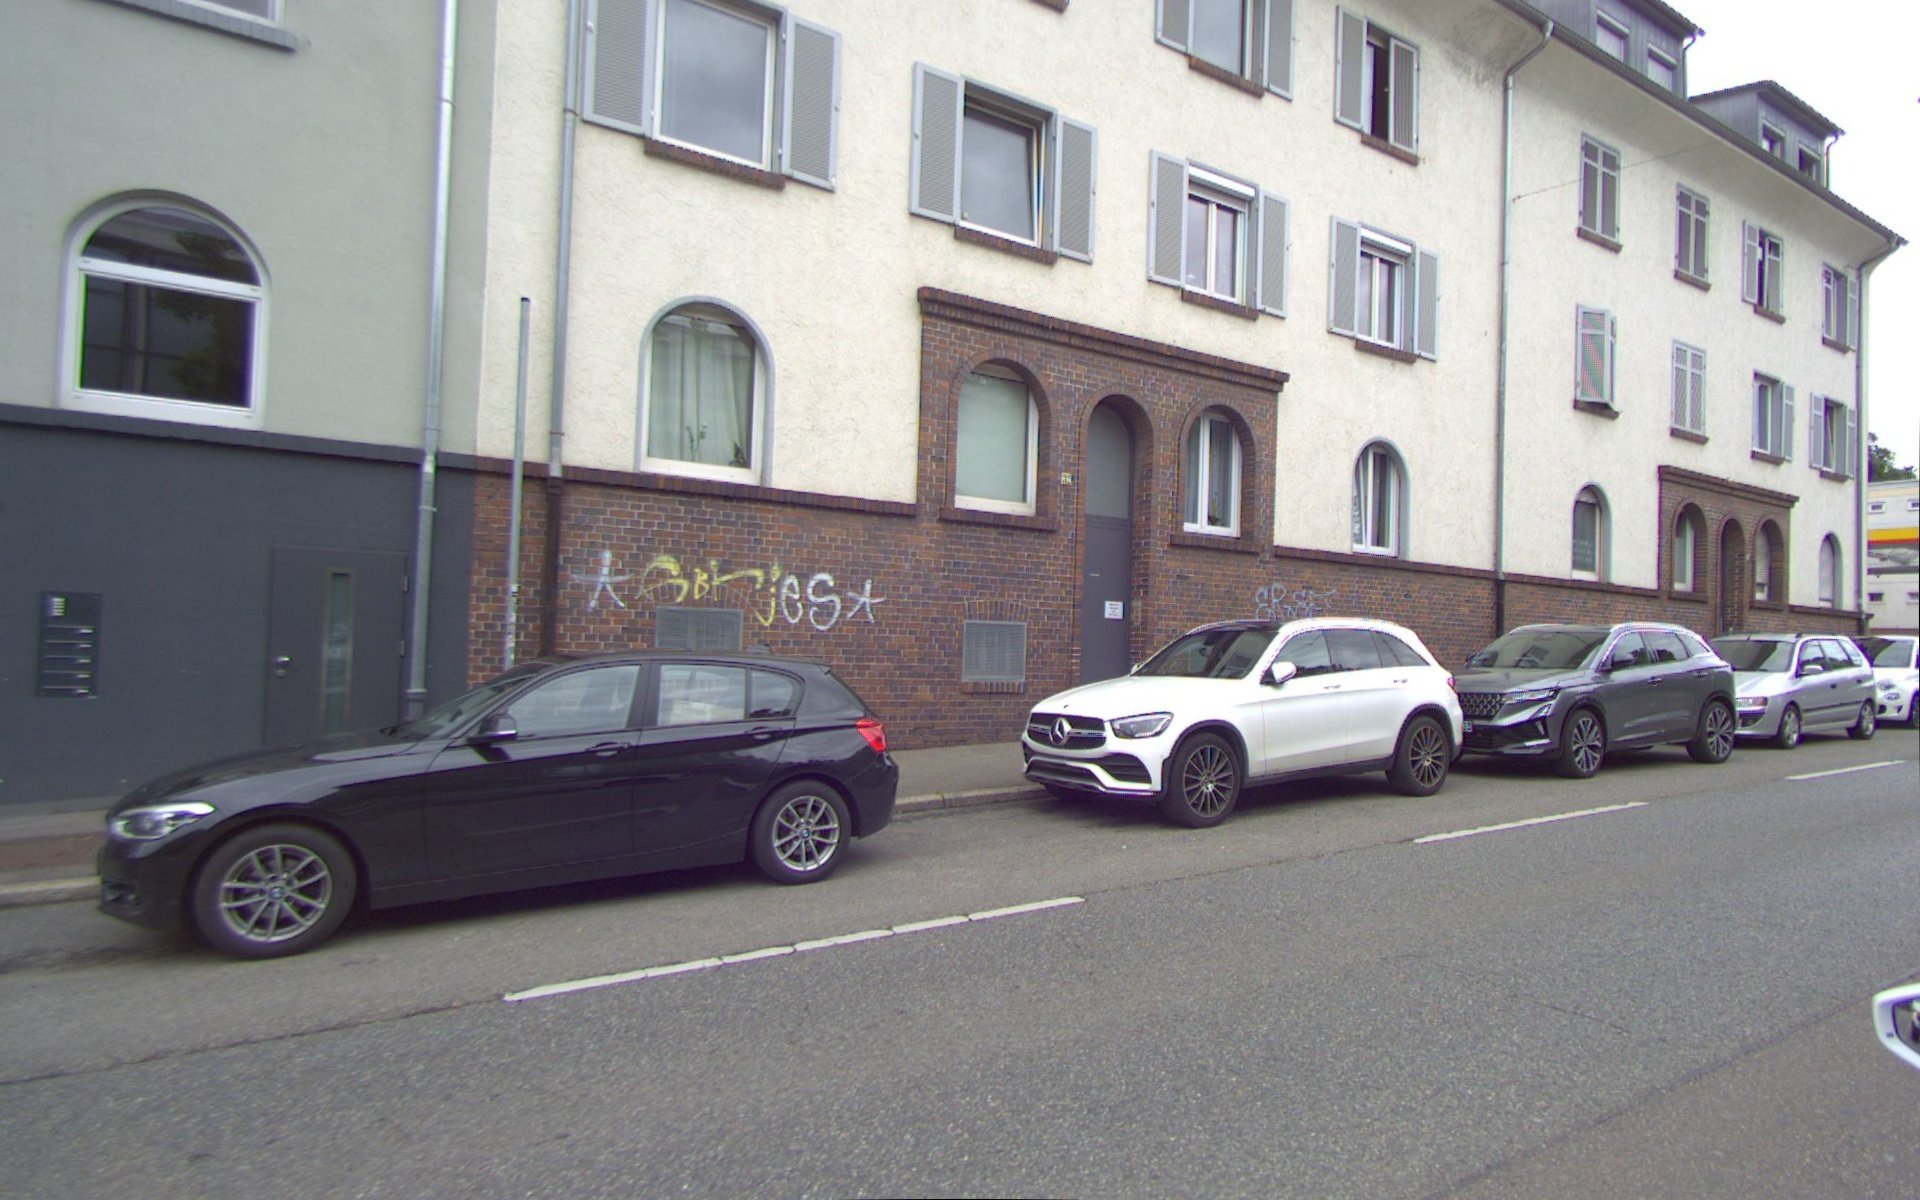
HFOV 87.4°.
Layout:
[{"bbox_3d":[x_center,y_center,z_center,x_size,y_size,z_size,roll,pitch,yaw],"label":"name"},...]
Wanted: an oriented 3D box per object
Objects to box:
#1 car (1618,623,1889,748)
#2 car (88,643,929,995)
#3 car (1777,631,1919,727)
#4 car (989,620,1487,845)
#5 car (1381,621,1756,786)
[{"bbox_3d":[11.486,1.168,14.490,4.034,1.578,1.719,1,-4,-31],"label":"car"},{"bbox_3d":[-2.408,1.022,6.150,4.143,1.448,1.719,1,-2,-31],"label":"car"},{"bbox_3d":[15.768,1.284,17.276,3.562,1.494,1.540,1,-2,-31],"label":"car"},{"bbox_3d":[2.679,1.016,9.333,4.590,1.642,1.836,1,-2,-31],"label":"car"},{"bbox_3d":[7.144,1.066,11.706,4.445,1.620,1.720,1,-2,-28],"label":"car"}]
